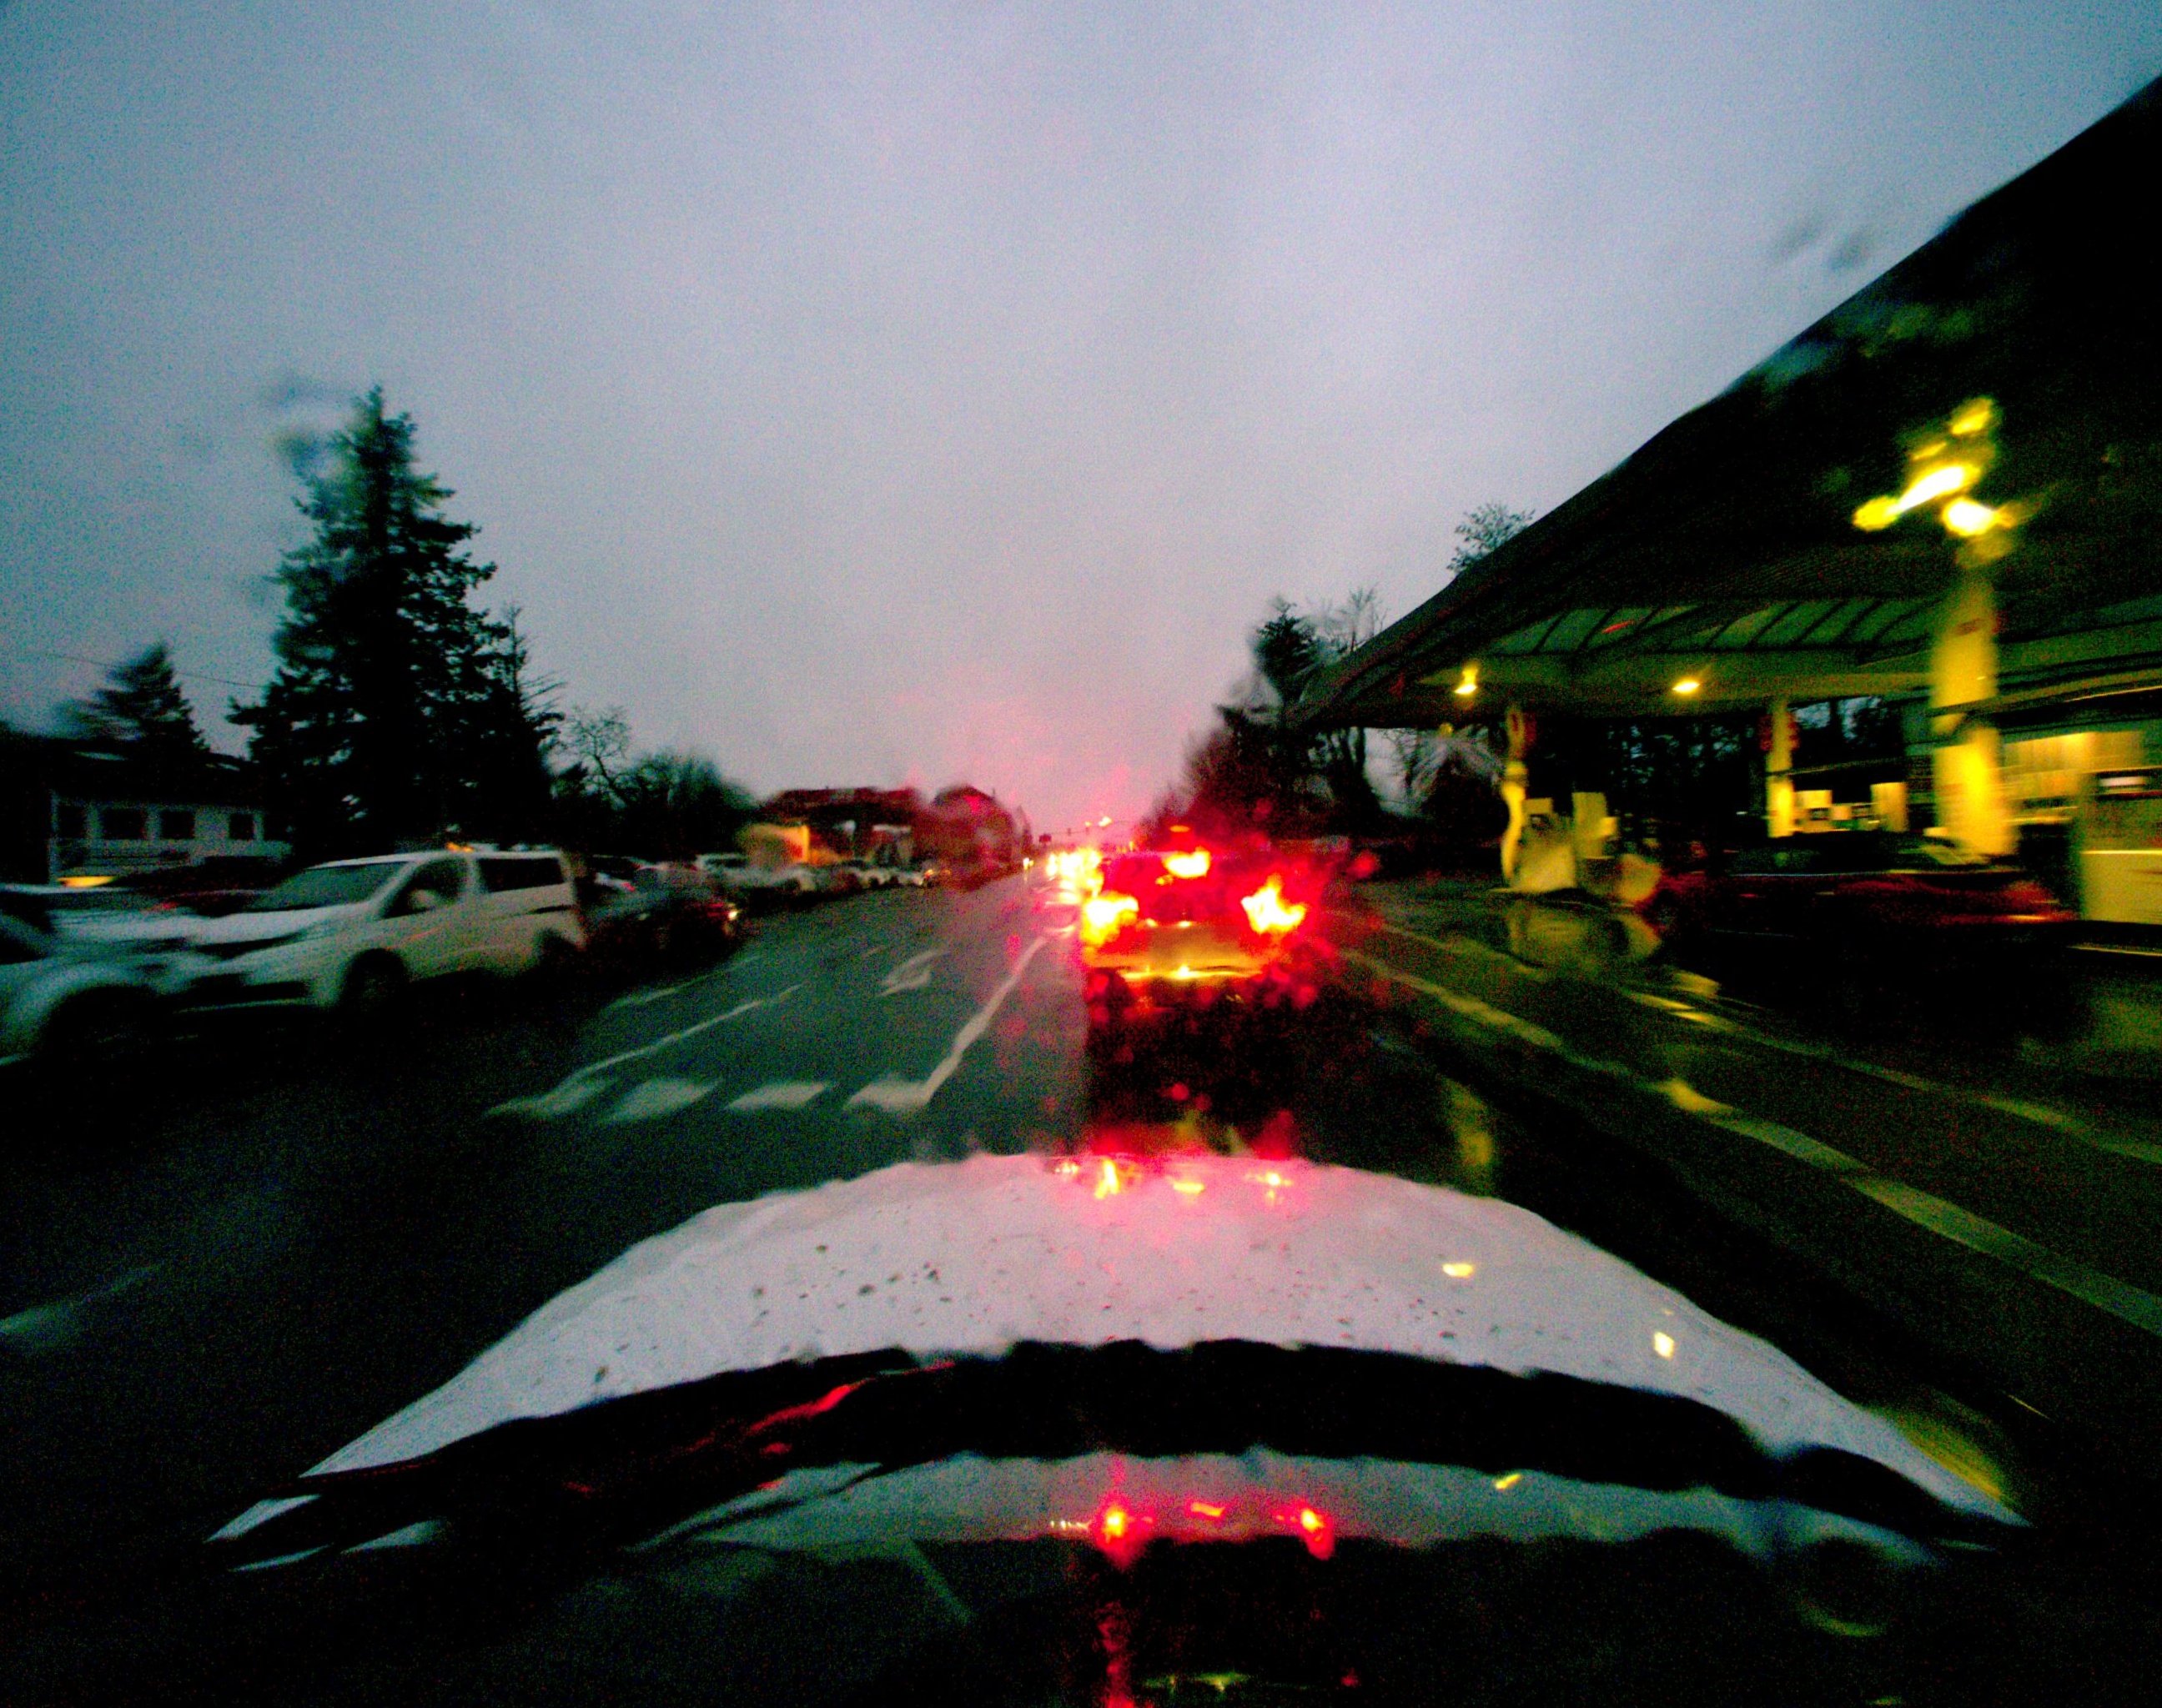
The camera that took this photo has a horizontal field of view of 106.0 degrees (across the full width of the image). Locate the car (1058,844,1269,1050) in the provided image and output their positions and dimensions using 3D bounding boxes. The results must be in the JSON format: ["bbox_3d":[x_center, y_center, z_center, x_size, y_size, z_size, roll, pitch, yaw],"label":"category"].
[{"bbox_3d":[0.687,0.704,8.178,1.559,1.529,4.008,-1,0,2],"label":"car"}]

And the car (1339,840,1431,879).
[{"bbox_3d":[13.660,0.228,36.451,4.508,1.608,1.995,-2,0,-43],"label":"car"}]

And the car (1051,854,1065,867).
[{"bbox_3d":[-3.066,0.814,107.735,1.598,1.534,4.000,-4,0,1],"label":"car"}]

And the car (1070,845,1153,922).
[{"bbox_3d":[0.720,0.615,19.488,1.702,1.575,4.466,-2,0,2],"label":"car"}]

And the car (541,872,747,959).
[{"bbox_3d":[-7.979,1.060,15.373,1.565,1.321,4.254,-3,-2,-1],"label":"car"}]

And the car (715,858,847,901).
[{"bbox_3d":[-11.580,0.952,31.604,4.317,1.498,1.997,-1,0,3],"label":"car"}]

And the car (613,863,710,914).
[{"bbox_3d":[-15.481,1.218,30.271,1.664,1.676,3.705,-2,0,-1],"label":"car"}]

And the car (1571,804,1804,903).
[{"bbox_3d":[13.286,-0.002,18.255,1.987,1.859,4.299,-3,0,1],"label":"car"}]

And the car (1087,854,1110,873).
[{"bbox_3d":[1.369,0.718,61.937,1.647,1.336,4.273,-2,0,1],"label":"car"}]

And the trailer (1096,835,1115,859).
[{"bbox_3d":[3.409,-0.872,117.332,2.479,3.241,10.869,-1,0,1],"label":"trailer"}]

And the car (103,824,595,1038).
[{"bbox_3d":[-8.383,0.743,10.070,1.827,2.013,4.487,-2,0,3],"label":"car"}]

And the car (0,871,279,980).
[{"bbox_3d":[-14.658,1.012,11.847,4.039,1.377,1.813,-1,0,-3],"label":"car"}]

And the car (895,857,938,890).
[{"bbox_3d":[-8.541,0.999,42.427,1.512,1.543,3.016,-3,0,1],"label":"car"}]

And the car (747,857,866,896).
[{"bbox_3d":[-11.434,0.915,34.144,4.320,1.498,1.826,-1,0,1],"label":"car"}]

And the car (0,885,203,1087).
[{"bbox_3d":[-8.742,1.028,5.333,1.643,1.412,3.843,-2,0,3],"label":"car"}]

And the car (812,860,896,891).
[{"bbox_3d":[-11.432,1.070,41.173,3.761,1.459,1.775,-1,0,-2],"label":"car"}]

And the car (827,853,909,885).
[{"bbox_3d":[-12.033,0.824,46.192,4.030,1.650,1.943,-2,0,2],"label":"car"}]

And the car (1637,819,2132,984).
[{"bbox_3d":[8.588,0.413,9.346,1.567,1.396,4.169,-3,0,1],"label":"car"}]

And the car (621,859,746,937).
[{"bbox_3d":[-9.465,1.004,19.591,1.165,1.644,2.878,-3,0,9],"label":"car"}]

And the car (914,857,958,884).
[{"bbox_3d":[-8.286,0.917,46.842,1.675,1.421,3.743,-2,0,3],"label":"car"}]

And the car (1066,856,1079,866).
[{"bbox_3d":[-1.627,1.391,159.074,1.984,1.746,4.005,-3,0,4],"label":"car"}]

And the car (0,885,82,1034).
[{"bbox_3d":[-14.786,1.315,9.301,4.039,1.732,2.023,-1,0,-3],"label":"car"}]

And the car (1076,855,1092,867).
[{"bbox_3d":[0.368,0.931,115.831,2.042,1.573,4.700,-3,0,-2],"label":"car"}]

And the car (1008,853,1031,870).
[{"bbox_3d":[-6.796,0.816,90.375,1.963,1.830,4.514,-3,0,1],"label":"car"}]

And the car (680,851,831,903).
[{"bbox_3d":[-11.536,0.776,29.122,4.524,1.676,2.008,-1,0,-3],"label":"car"}]
